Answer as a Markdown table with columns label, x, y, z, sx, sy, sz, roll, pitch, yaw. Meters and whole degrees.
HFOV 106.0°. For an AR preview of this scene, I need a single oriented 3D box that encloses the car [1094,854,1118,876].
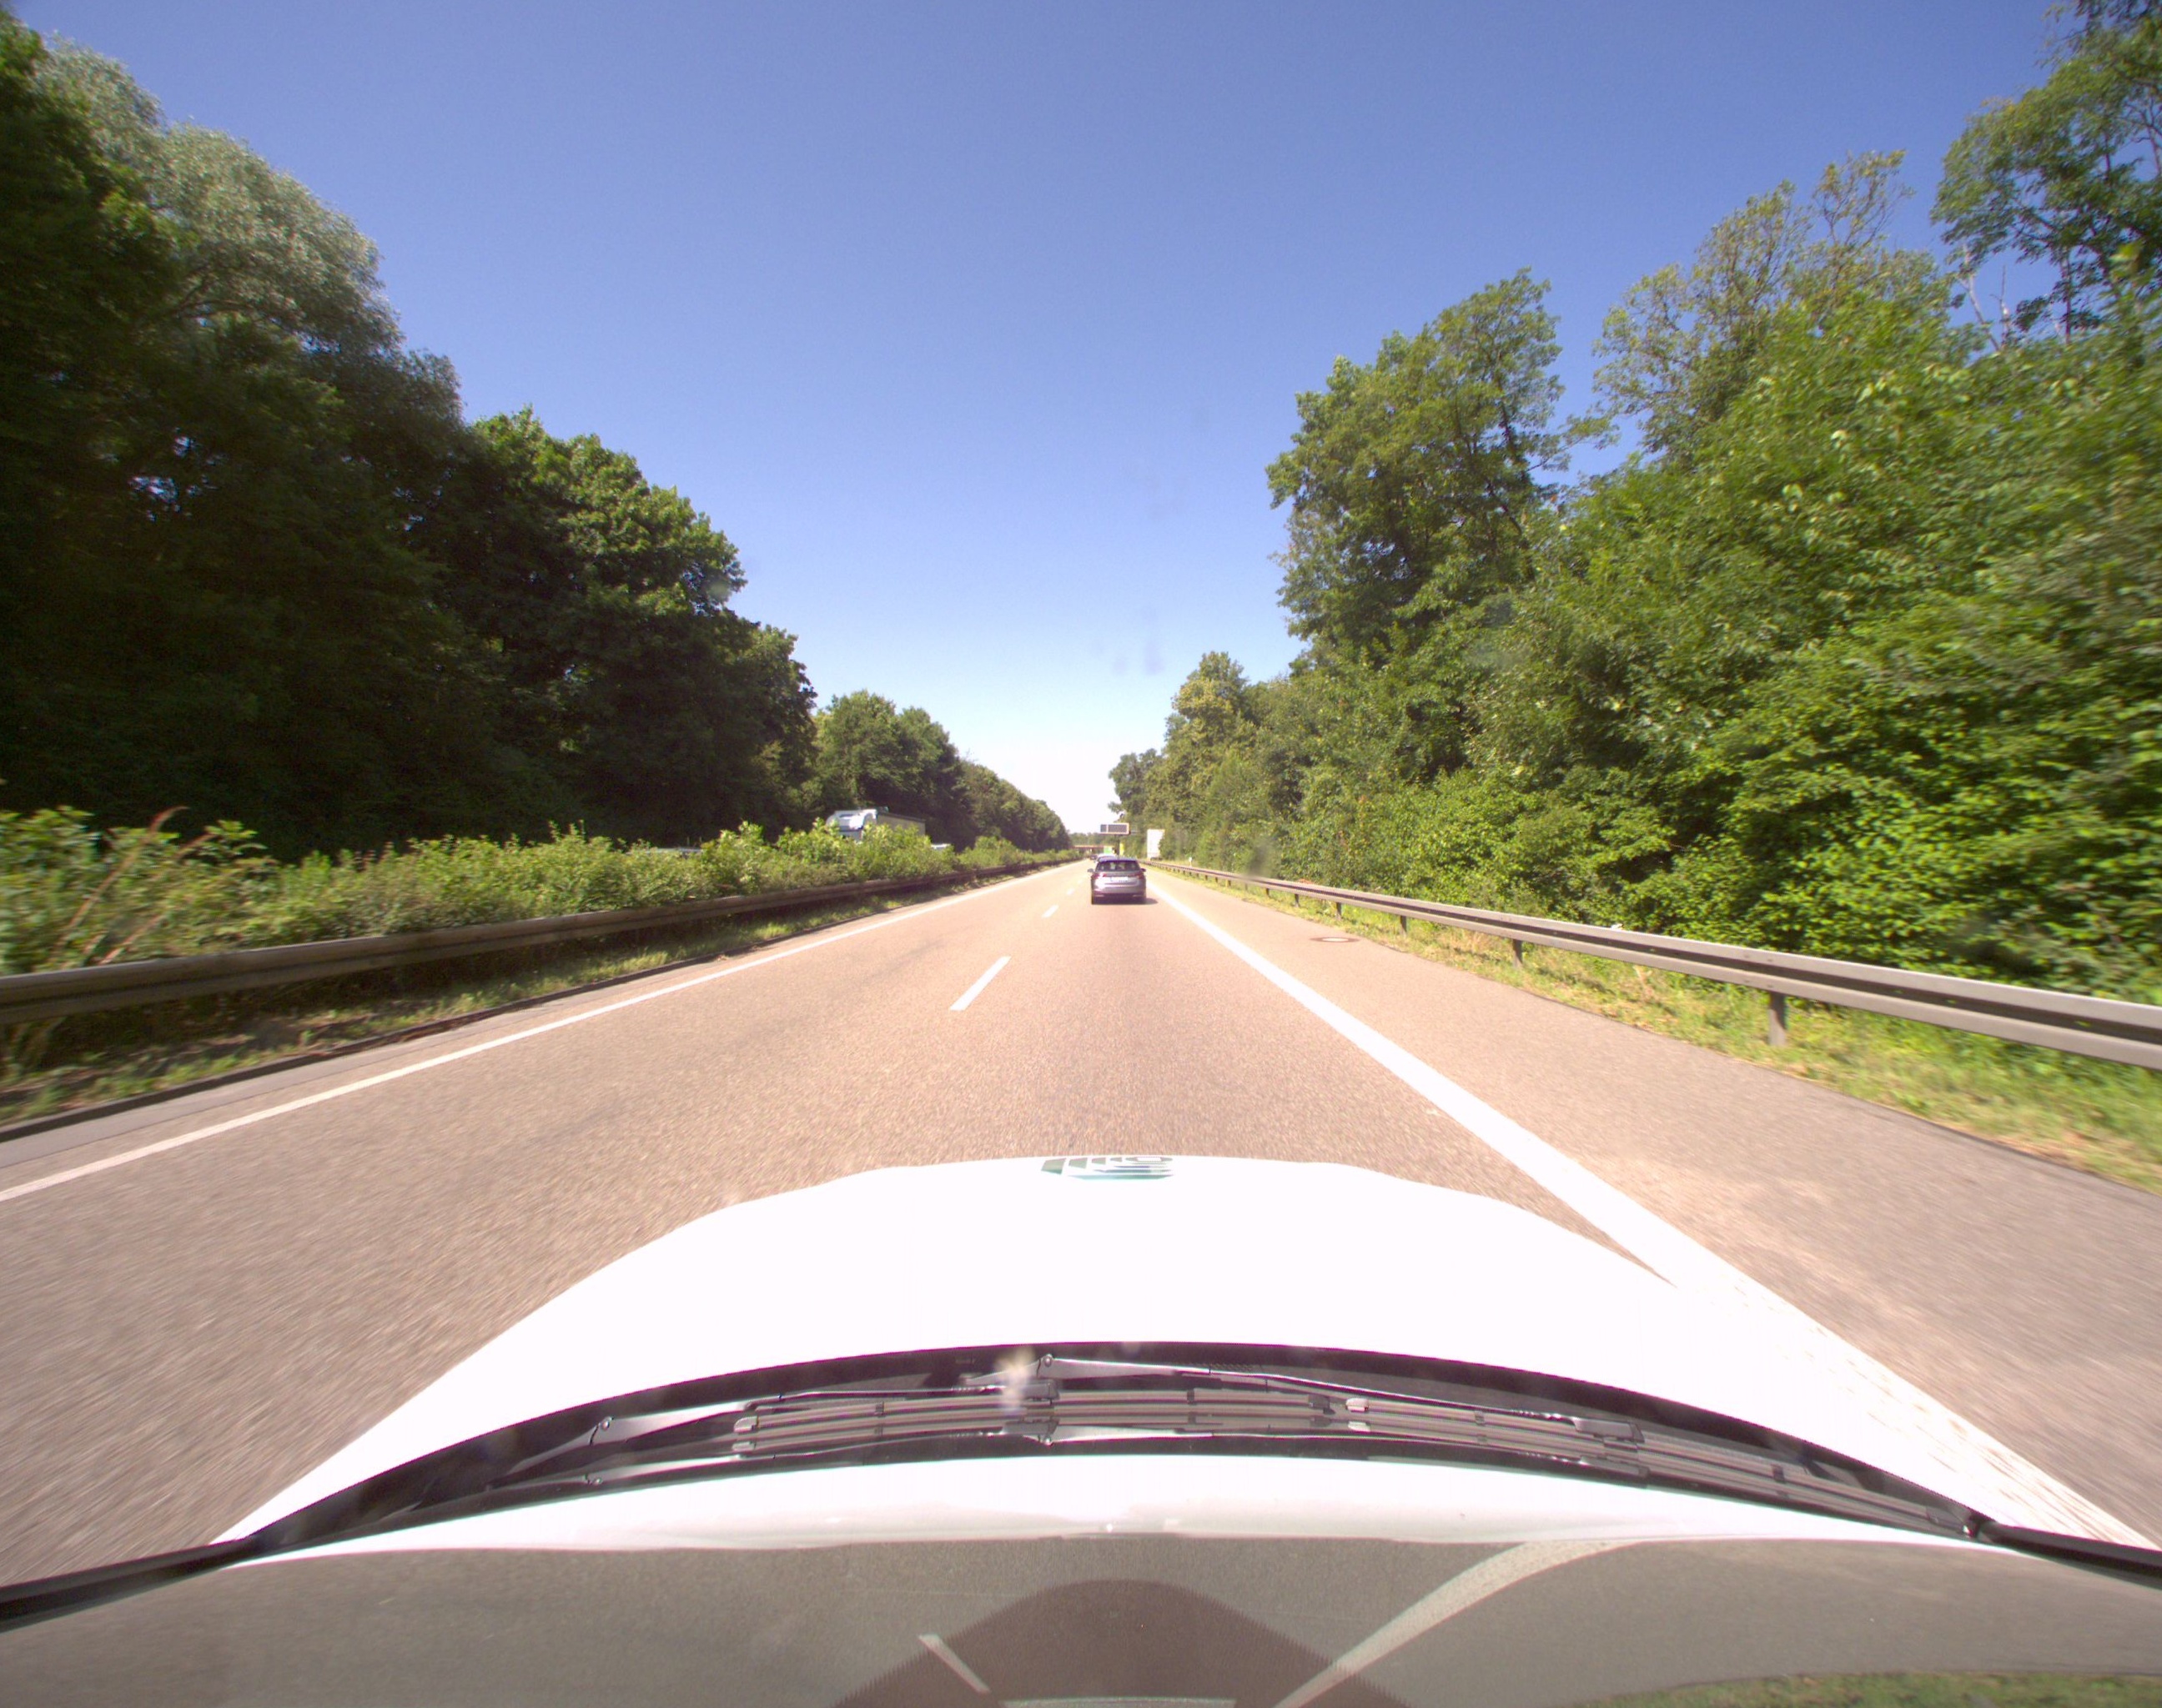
| label | x | y | z | sx | sy | sz | roll | pitch | yaw |
| --- | --- | --- | --- | --- | --- | --- | --- | --- | --- |
| car | 1.767 | 0.741 | 56.730 | 1.516 | 1.446 | 3.343 | 0 | 0 | 4 |

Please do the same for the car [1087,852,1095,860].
| label | x | y | z | sx | sy | sz | roll | pitch | yaw |
| --- | --- | --- | --- | --- | --- | --- | --- | --- | --- |
| car | 2.817 | 0.523 | 220.977 | 1.986 | 2.014 | 4.002 | 0 | -1 | 2 |

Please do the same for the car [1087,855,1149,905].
| label | x | y | z | sx | sy | sz | roll | pitch | yaw |
| --- | --- | --- | --- | --- | --- | --- | --- | --- | --- |
| car | 1.203 | 0.764 | 25.841 | 1.832 | 1.472 | 3.627 | 0 | 0 | 4 |

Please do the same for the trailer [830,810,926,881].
| label | x | y | z | sx | sy | sz | roll | pitch | yaw |
| --- | --- | --- | --- | --- | --- | --- | --- | --- | --- |
| trailer | -13.660 | -0.450 | 56.470 | 2.818 | 4.300 | 13.669 | 0 | 0 | 2 |

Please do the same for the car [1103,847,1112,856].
| label | x | y | z | sx | sy | sz | roll | pitch | yaw |
| --- | --- | --- | --- | --- | --- | --- | --- | --- | --- |
| car | 8.268 | -0.813 | 252.812 | 2.738 | 2.654 | 4.002 | 0 | -1 | 2 |

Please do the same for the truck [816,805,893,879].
| label | x | y | z | sx | sy | sz | roll | pitch | yaw |
| --- | --- | --- | --- | --- | --- | --- | --- | --- | --- |
| truck | -13.779 | -0.641 | 50.070 | 2.707 | 4.244 | 6.539 | 0 | -1 | 2 |
